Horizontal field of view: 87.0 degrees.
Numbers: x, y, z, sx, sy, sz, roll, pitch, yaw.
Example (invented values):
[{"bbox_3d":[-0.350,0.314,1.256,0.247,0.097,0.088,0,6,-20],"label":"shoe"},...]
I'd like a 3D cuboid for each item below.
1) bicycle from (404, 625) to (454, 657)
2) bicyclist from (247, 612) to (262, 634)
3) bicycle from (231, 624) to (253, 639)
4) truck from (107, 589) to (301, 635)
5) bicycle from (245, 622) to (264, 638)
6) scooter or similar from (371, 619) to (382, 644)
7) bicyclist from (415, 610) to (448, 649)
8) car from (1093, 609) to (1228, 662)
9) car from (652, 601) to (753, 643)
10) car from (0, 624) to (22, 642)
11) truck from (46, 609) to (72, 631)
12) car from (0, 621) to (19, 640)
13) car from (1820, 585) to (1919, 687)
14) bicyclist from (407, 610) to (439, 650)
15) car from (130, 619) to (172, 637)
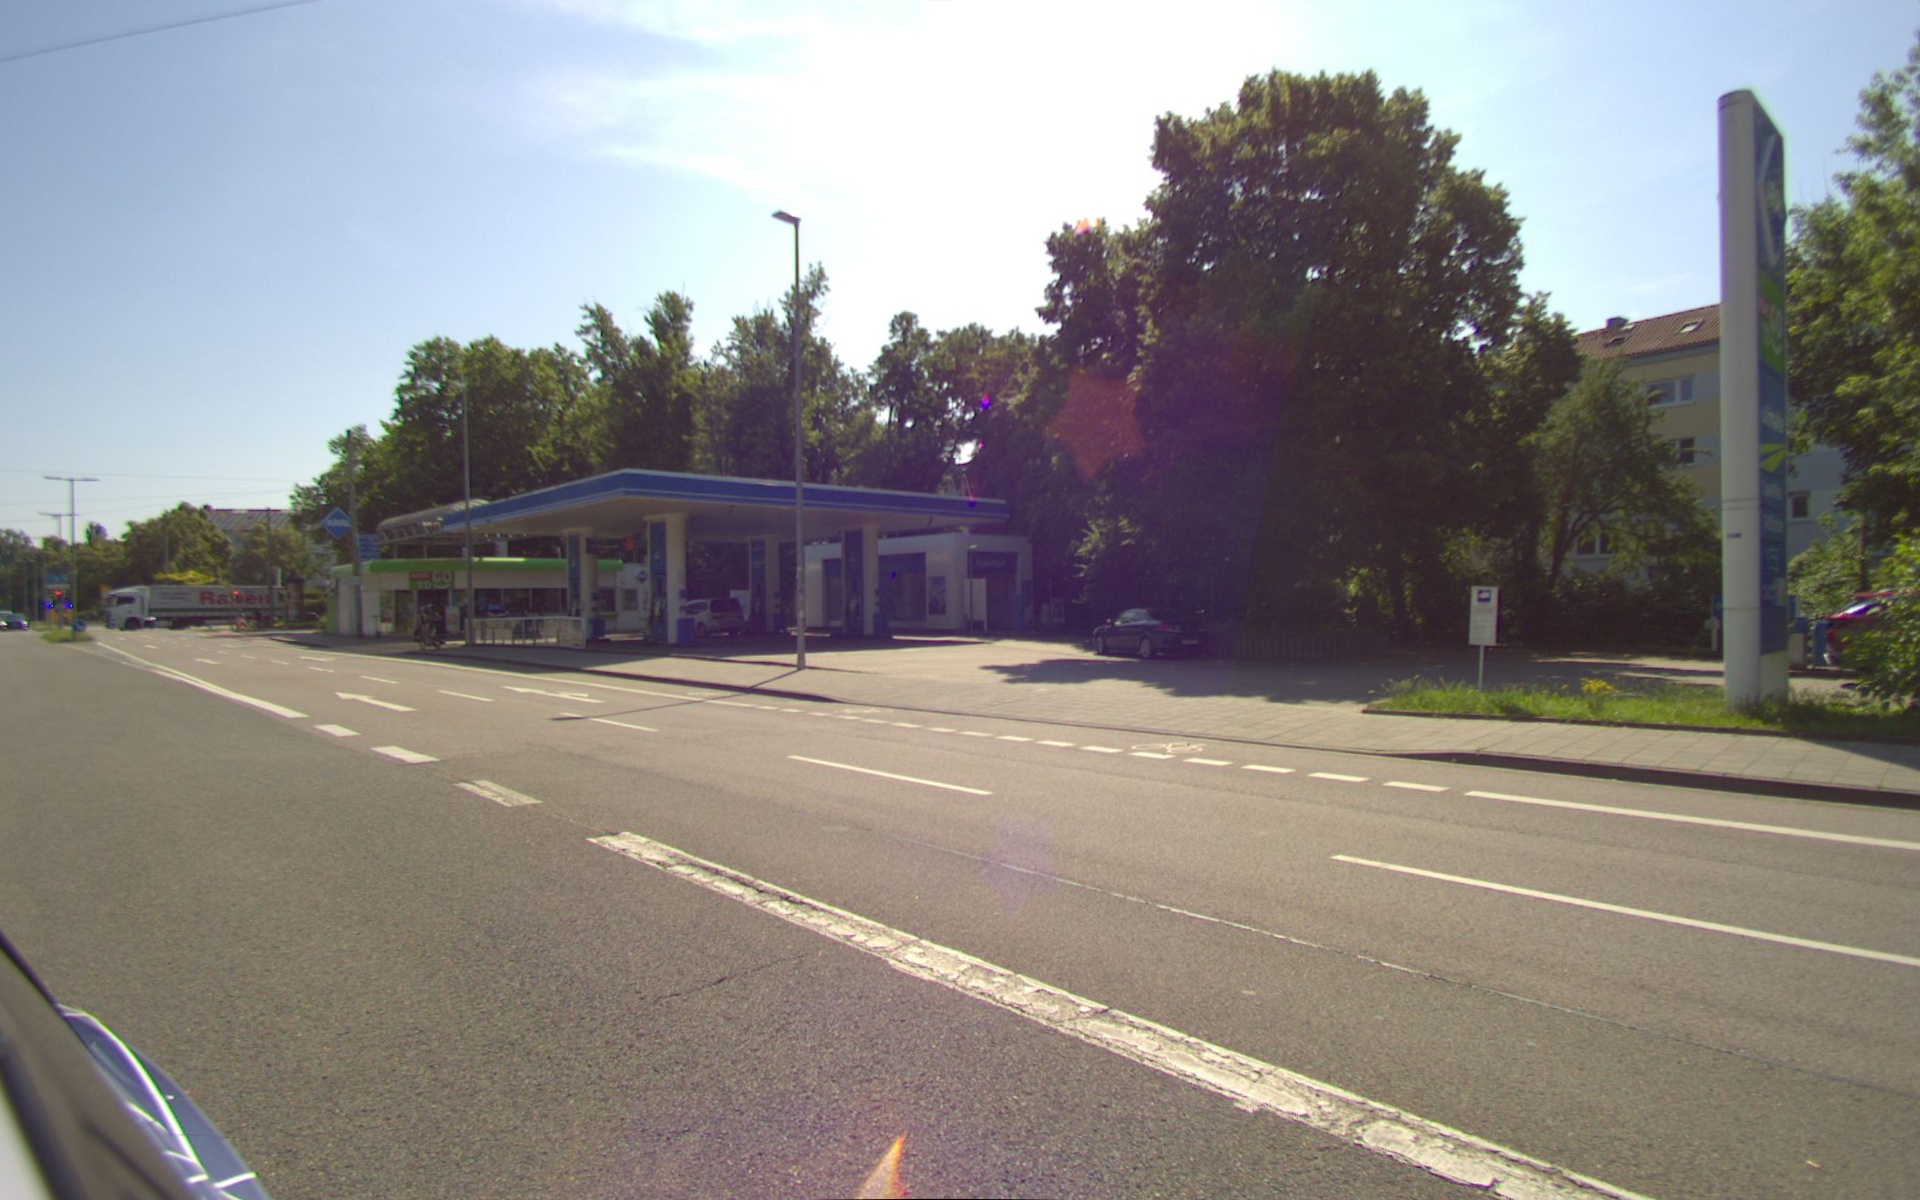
[{"bbox_3d":[-20.115,1.537,38.290,2.773,1.103,0.816,-2,1,44],"label":"bicycle"},{"bbox_3d":[-54.052,1.766,77.544,0.825,1.687,0.827,-2,-1,-44],"label":"bicyclist"},{"bbox_3d":[-53.670,2.348,75.627,2.072,1.066,0.743,-2,-1,38],"label":"bicycle"},{"bbox_3d":[-69.438,1.026,93.476,2.855,4.037,14.101,-2,-1,43],"label":"truck"},{"bbox_3d":[-54.135,2.298,77.656,0.926,1.184,2.214,-1,-1,-42],"label":"bicycle"},{"bbox_3d":[-30.640,1.652,53.141,0.435,1.246,1.349,-1,-1,-34],"label":"scooter or similar"},{"bbox_3d":[-19.975,1.113,38.215,0.832,1.446,0.838,-4,-2,43],"label":"bicyclist"},{"bbox_3d":[5.575,0.960,28.712,1.774,1.356,4.257,-1,0,-20],"label":"car"},{"bbox_3d":[-12.015,1.027,46.941,1.822,1.795,5.968,-1,-1,-44],"label":"car"},{"bbox_3d":[-88.210,3.057,93.573,4.503,1.594,1.732,-2,-1,41],"label":"car"},{"bbox_3d":[-114.604,2.538,128.726,2.302,2.688,7.367,0,-1,-43],"label":"truck"},{"bbox_3d":[-122.925,3.906,130.338,5.232,2.367,2.233,-1,0,44],"label":"car"},{"bbox_3d":[16.324,0.513,15.555,1.778,1.582,4.521,-1,-2,-43],"label":"car"},{"bbox_3d":[-20.591,1.152,38.807,0.832,1.446,0.838,-3,-1,43],"label":"bicyclist"},{"bbox_3d":[-80.026,2.793,100.066,4.378,1.522,1.739,-3,-1,29],"label":"car"}]
